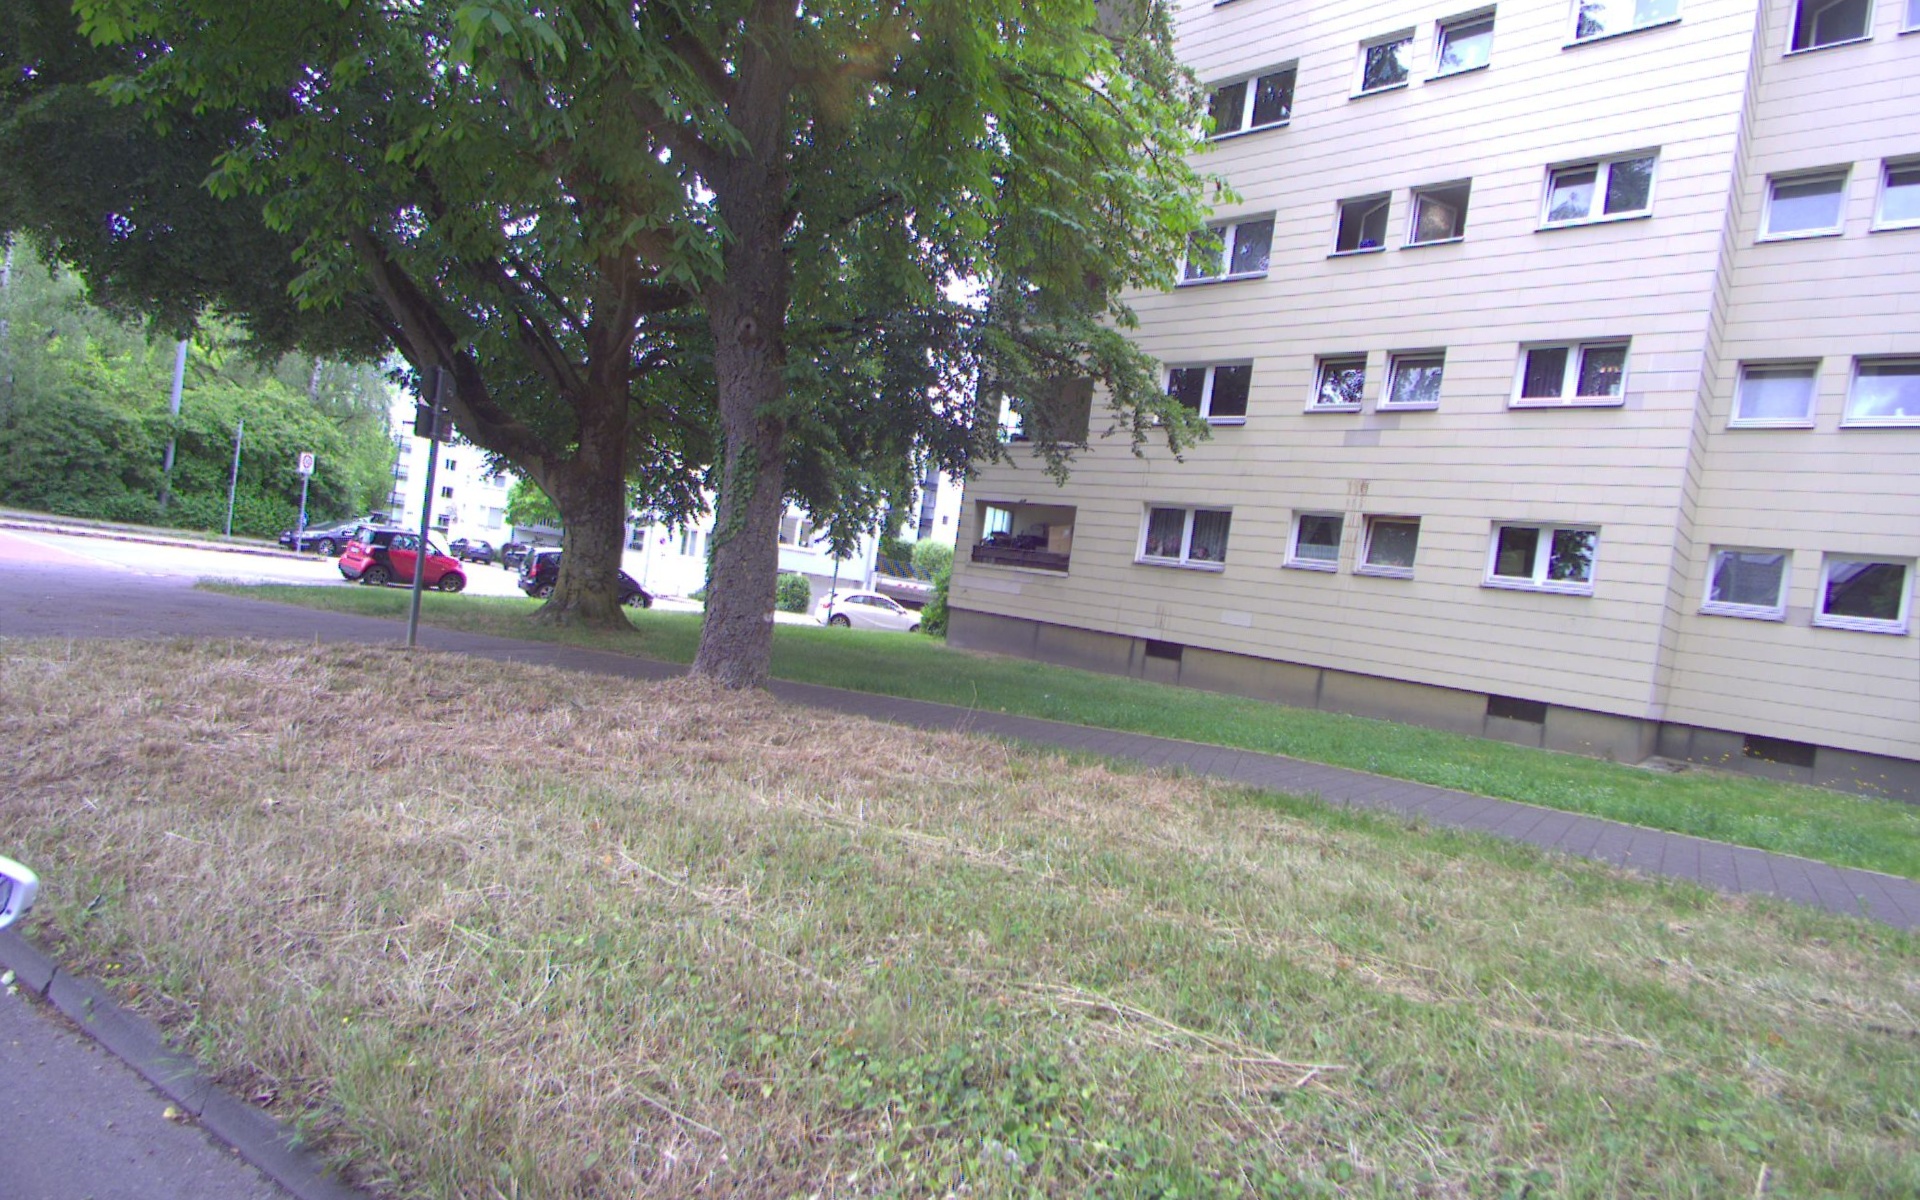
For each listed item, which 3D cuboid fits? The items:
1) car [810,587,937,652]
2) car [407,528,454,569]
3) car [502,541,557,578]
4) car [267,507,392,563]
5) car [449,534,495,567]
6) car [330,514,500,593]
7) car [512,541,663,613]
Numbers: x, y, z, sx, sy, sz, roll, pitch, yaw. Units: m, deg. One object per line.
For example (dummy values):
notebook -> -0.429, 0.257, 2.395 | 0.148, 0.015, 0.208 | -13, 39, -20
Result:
car -> -2.887, 0.630, 33.310 | 3.796, 1.631, 1.721 | 7, 1, -18
car -> -24.879, -2.441, 47.184 | 1.709, 1.631, 3.823 | 6, 1, -30
car -> -23.189, -2.198, 54.072 | 1.713, 1.631, 3.813 | 6, 1, -38
car -> -23.404, -2.404, 37.432 | 1.702, 1.549, 3.515 | 8, 1, 38
car -> -30.114, -3.071, 62.025 | 1.713, 1.631, 3.813 | 6, 1, -38
car -> -14.530, -1.208, 26.948 | 1.702, 1.631, 3.516 | 8, 1, 37
car -> -11.059, -0.675, 29.922 | 3.814, 1.631, 1.713 | 6, 1, -33
